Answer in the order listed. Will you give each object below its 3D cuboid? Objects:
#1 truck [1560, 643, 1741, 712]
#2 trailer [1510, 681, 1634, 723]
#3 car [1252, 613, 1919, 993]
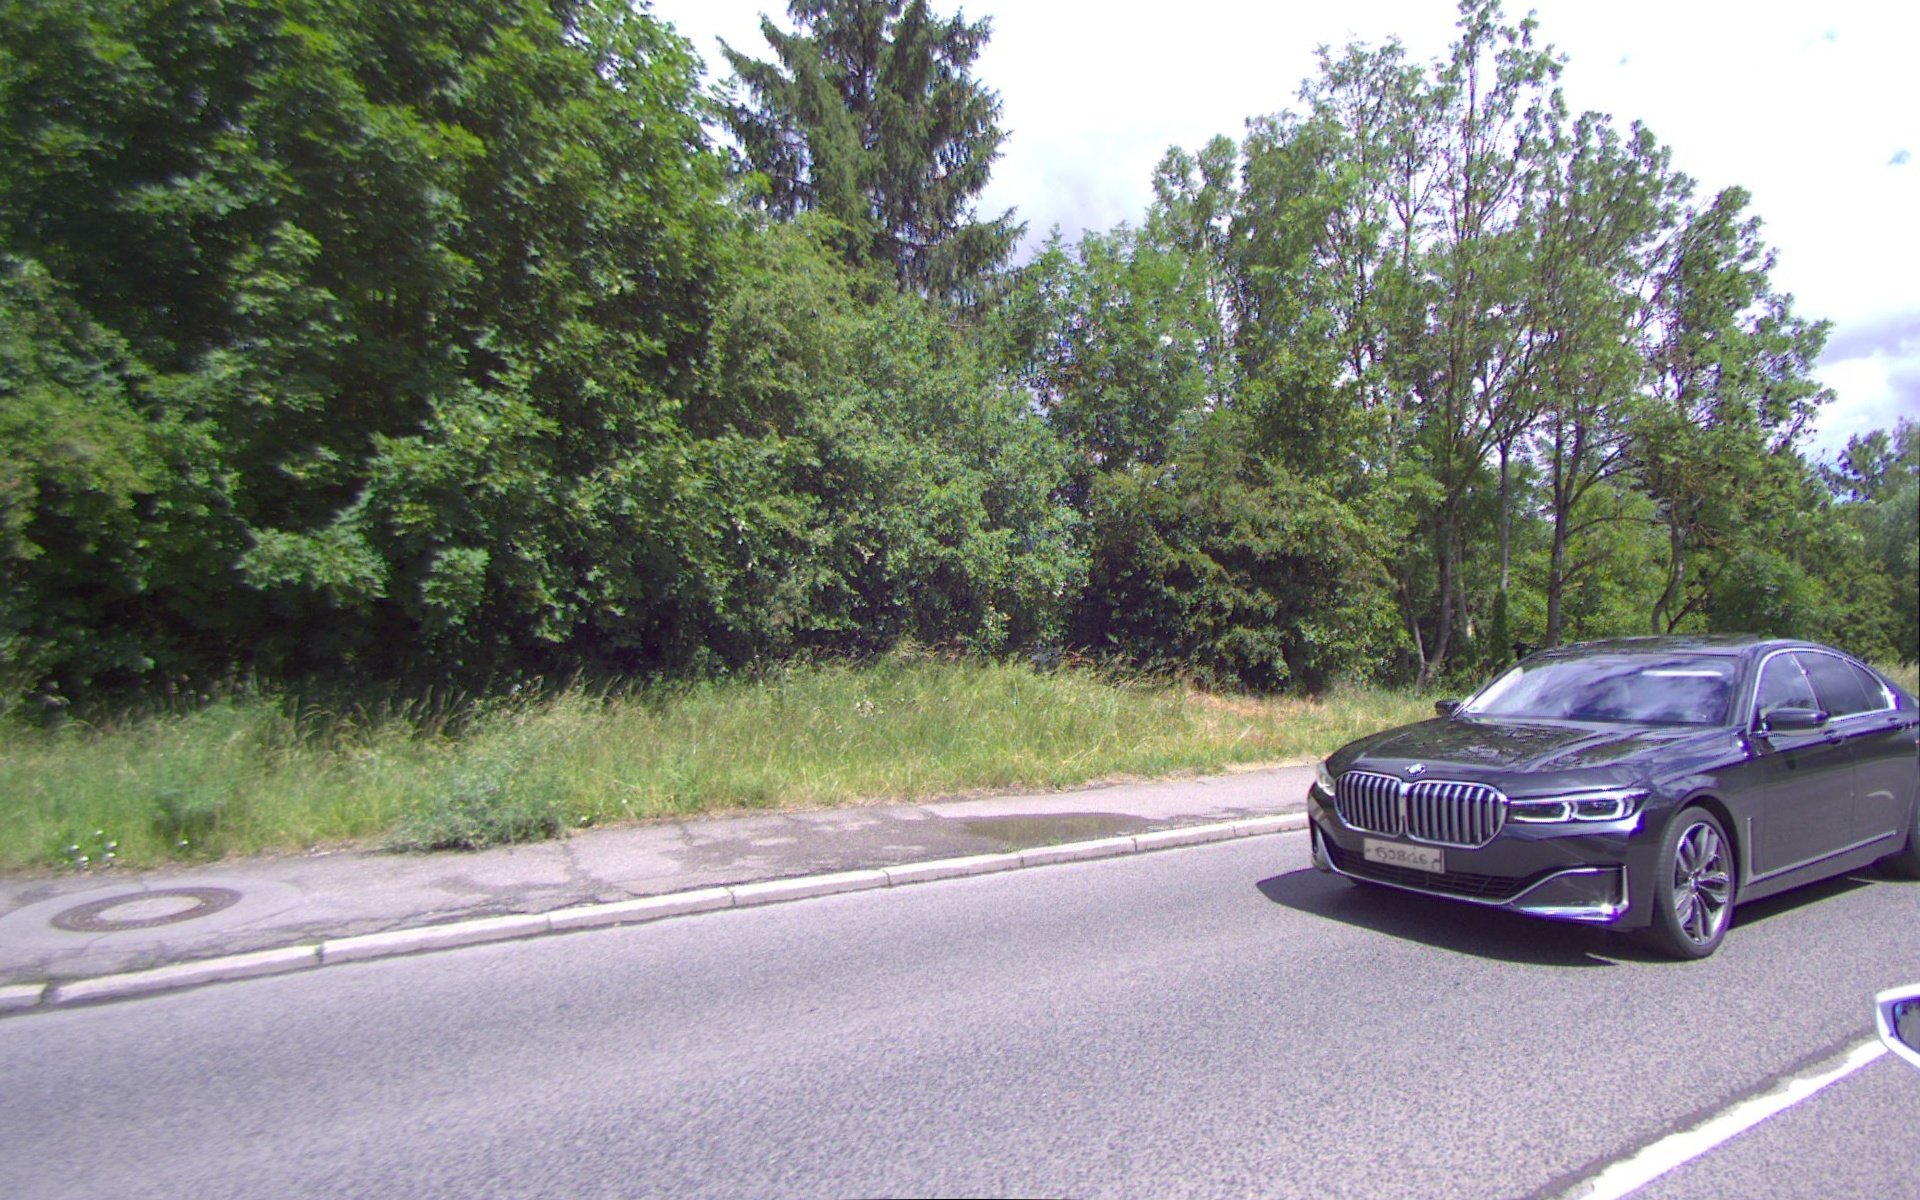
[{"bbox_3d":[28.795,3.219,42.242,1.970,2.643,6.196,1,-4,-21],"label":"truck"},{"bbox_3d":[25.163,4.166,41.482,1.970,1.575,3.982,1,-4,-21],"label":"trailer"},{"bbox_3d":[4.117,0.898,6.073,4.664,1.511,1.875,1,-4,-32],"label":"car"}]
